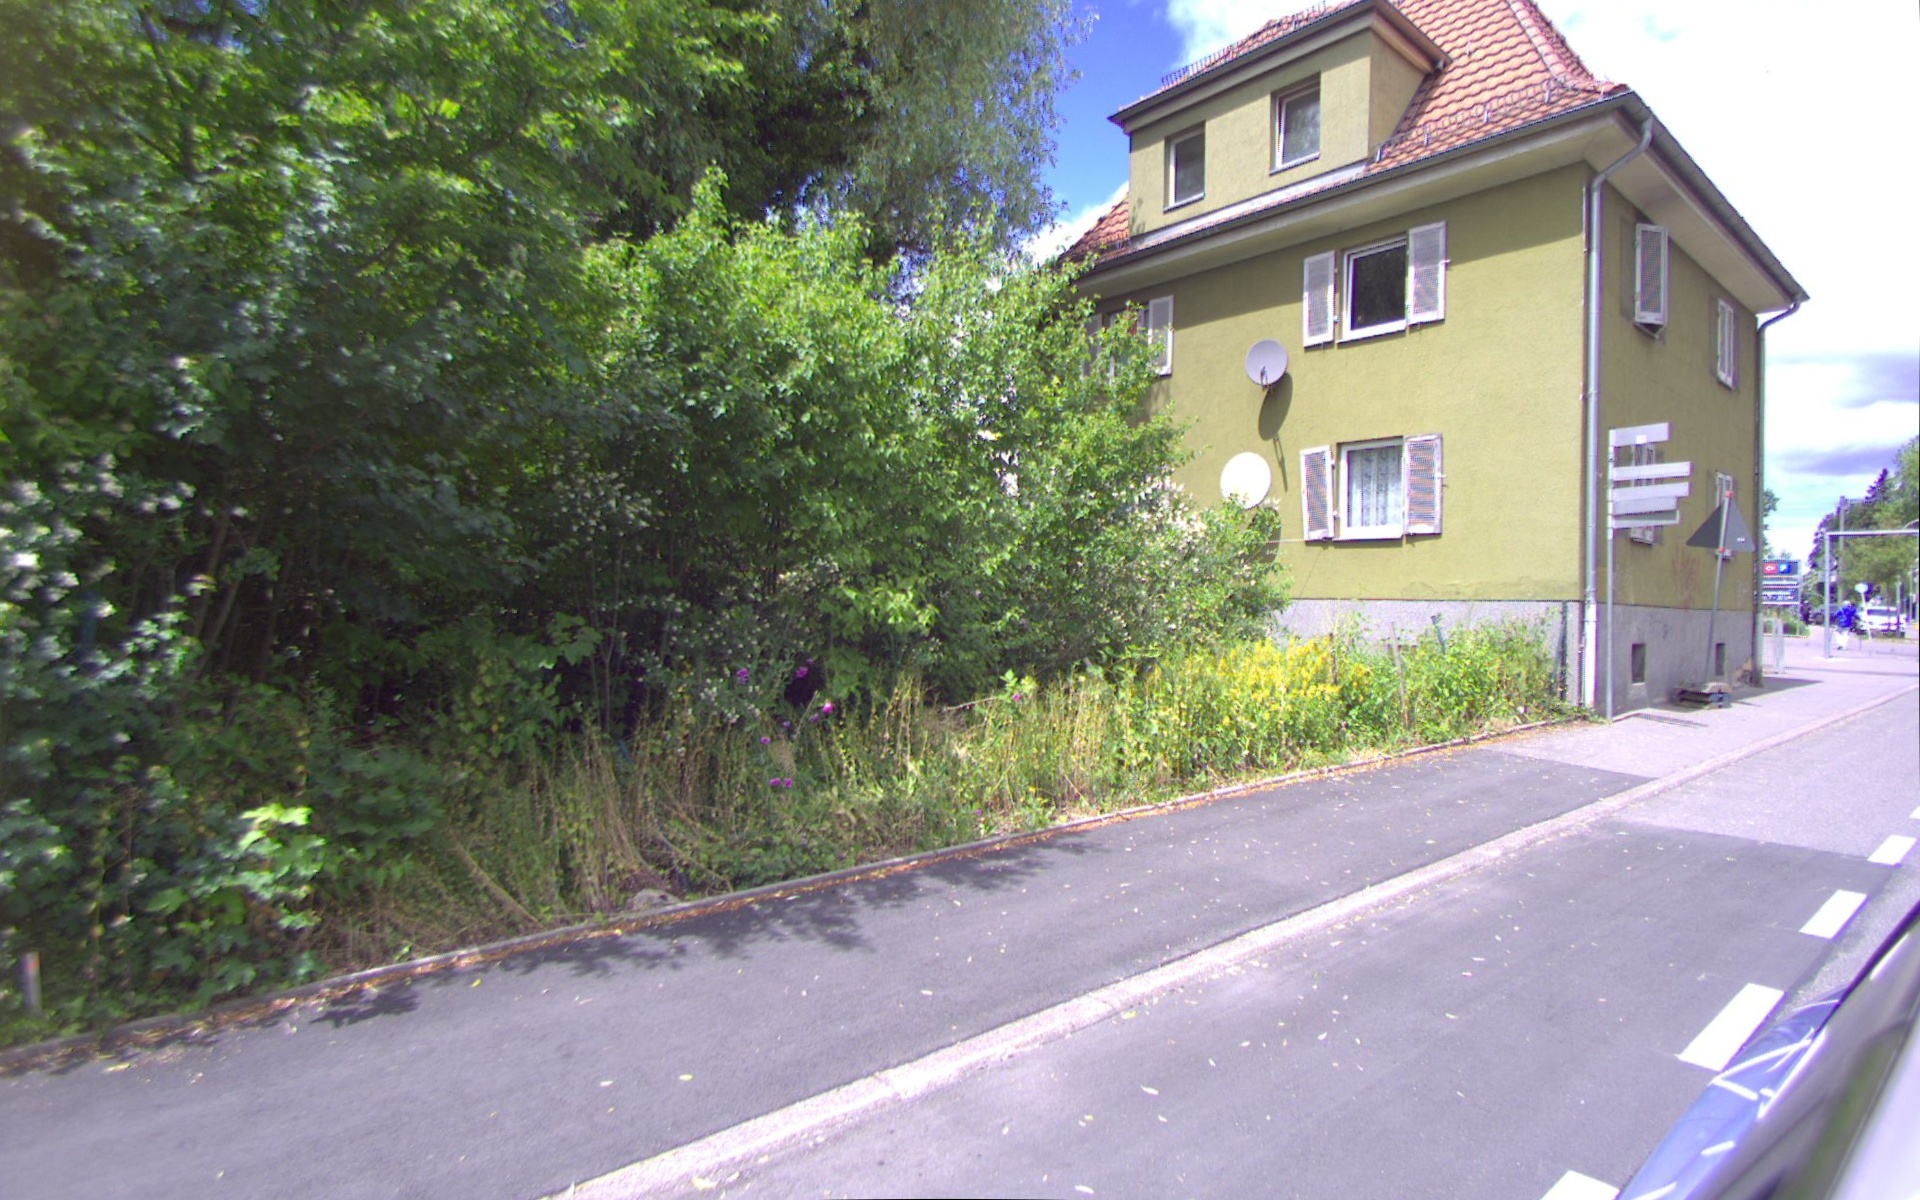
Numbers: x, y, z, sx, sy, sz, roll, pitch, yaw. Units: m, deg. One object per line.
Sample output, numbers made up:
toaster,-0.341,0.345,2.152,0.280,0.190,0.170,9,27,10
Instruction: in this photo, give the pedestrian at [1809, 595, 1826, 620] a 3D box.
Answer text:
pedestrian,58.019,0.491,68.474,0.765,1.683,0.721,1,-3,-45

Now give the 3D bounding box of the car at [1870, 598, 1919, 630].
car,47.626,0.656,51.353,3.931,1.529,1.797,0,1,-42

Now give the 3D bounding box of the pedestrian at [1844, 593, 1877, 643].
pedestrian,28.946,0.567,32.552,0.726,1.572,1.042,1,0,39
